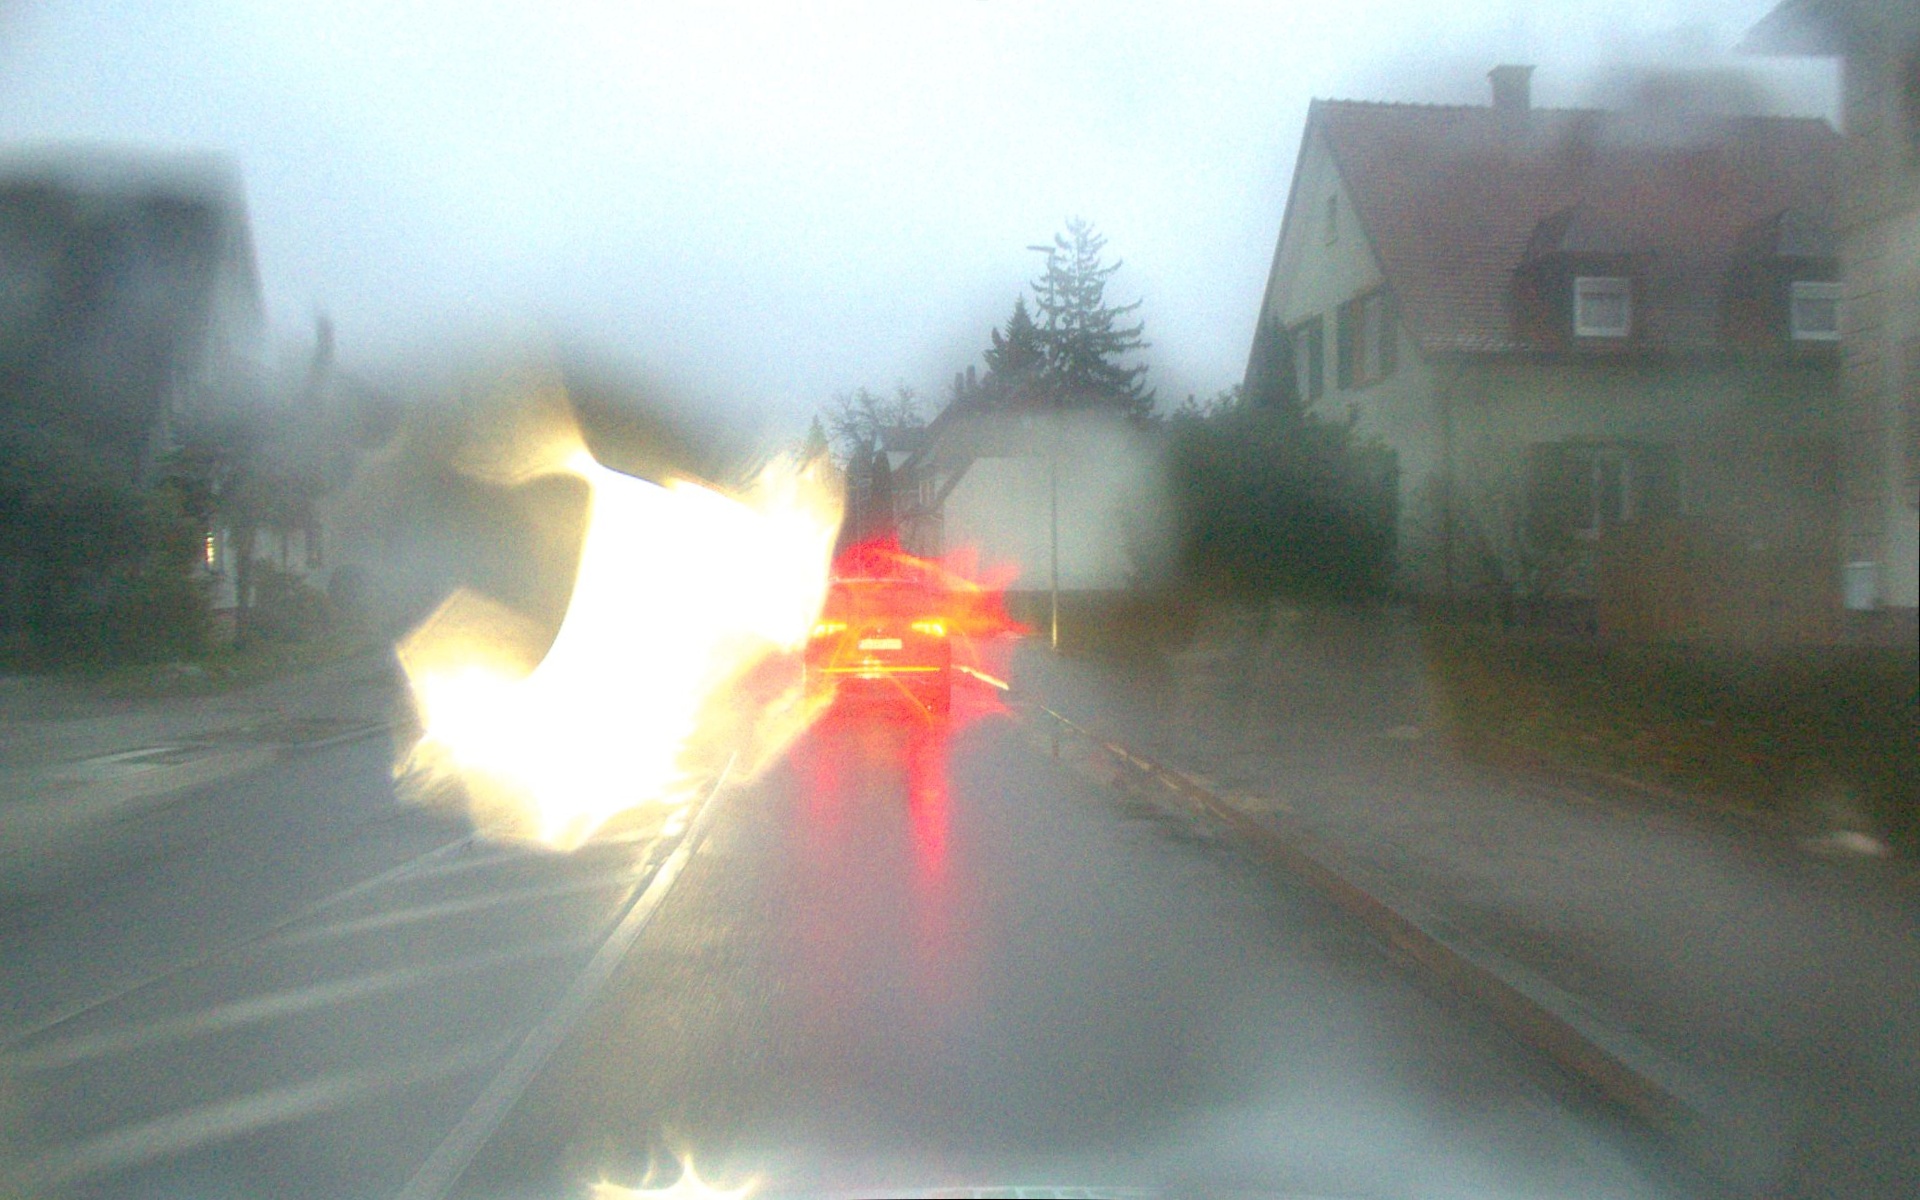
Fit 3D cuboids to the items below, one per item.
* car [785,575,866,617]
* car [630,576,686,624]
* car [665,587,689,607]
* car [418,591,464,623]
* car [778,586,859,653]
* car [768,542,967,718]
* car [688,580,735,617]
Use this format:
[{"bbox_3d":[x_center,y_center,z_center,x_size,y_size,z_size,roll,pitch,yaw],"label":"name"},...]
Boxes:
[{"bbox_3d":[-7.137,-0.215,87.584,4.166,2.049,1.808,-2,0,-7],"label":"car"},{"bbox_3d":[-10.745,-0.006,59.024,1.790,1.581,3.992,-2,1,-9],"label":"car"},{"bbox_3d":[-24.555,-0.256,143.573,1.877,1.548,3.993,-1,2,-8],"label":"car"},{"bbox_3d":[-23.779,0.310,75.667,1.752,1.417,3.975,1,-1,-21],"label":"car"},{"bbox_3d":[-3.832,0.489,44.294,1.824,1.676,3.991,0,1,-10],"label":"car"},{"bbox_3d":[-1.283,0.345,21.612,2.265,1.972,5.012,-1,0,-5],"label":"car"},{"bbox_3d":[-14.031,-0.064,93.177,2.269,1.972,5.002,-1,0,-12],"label":"car"}]
